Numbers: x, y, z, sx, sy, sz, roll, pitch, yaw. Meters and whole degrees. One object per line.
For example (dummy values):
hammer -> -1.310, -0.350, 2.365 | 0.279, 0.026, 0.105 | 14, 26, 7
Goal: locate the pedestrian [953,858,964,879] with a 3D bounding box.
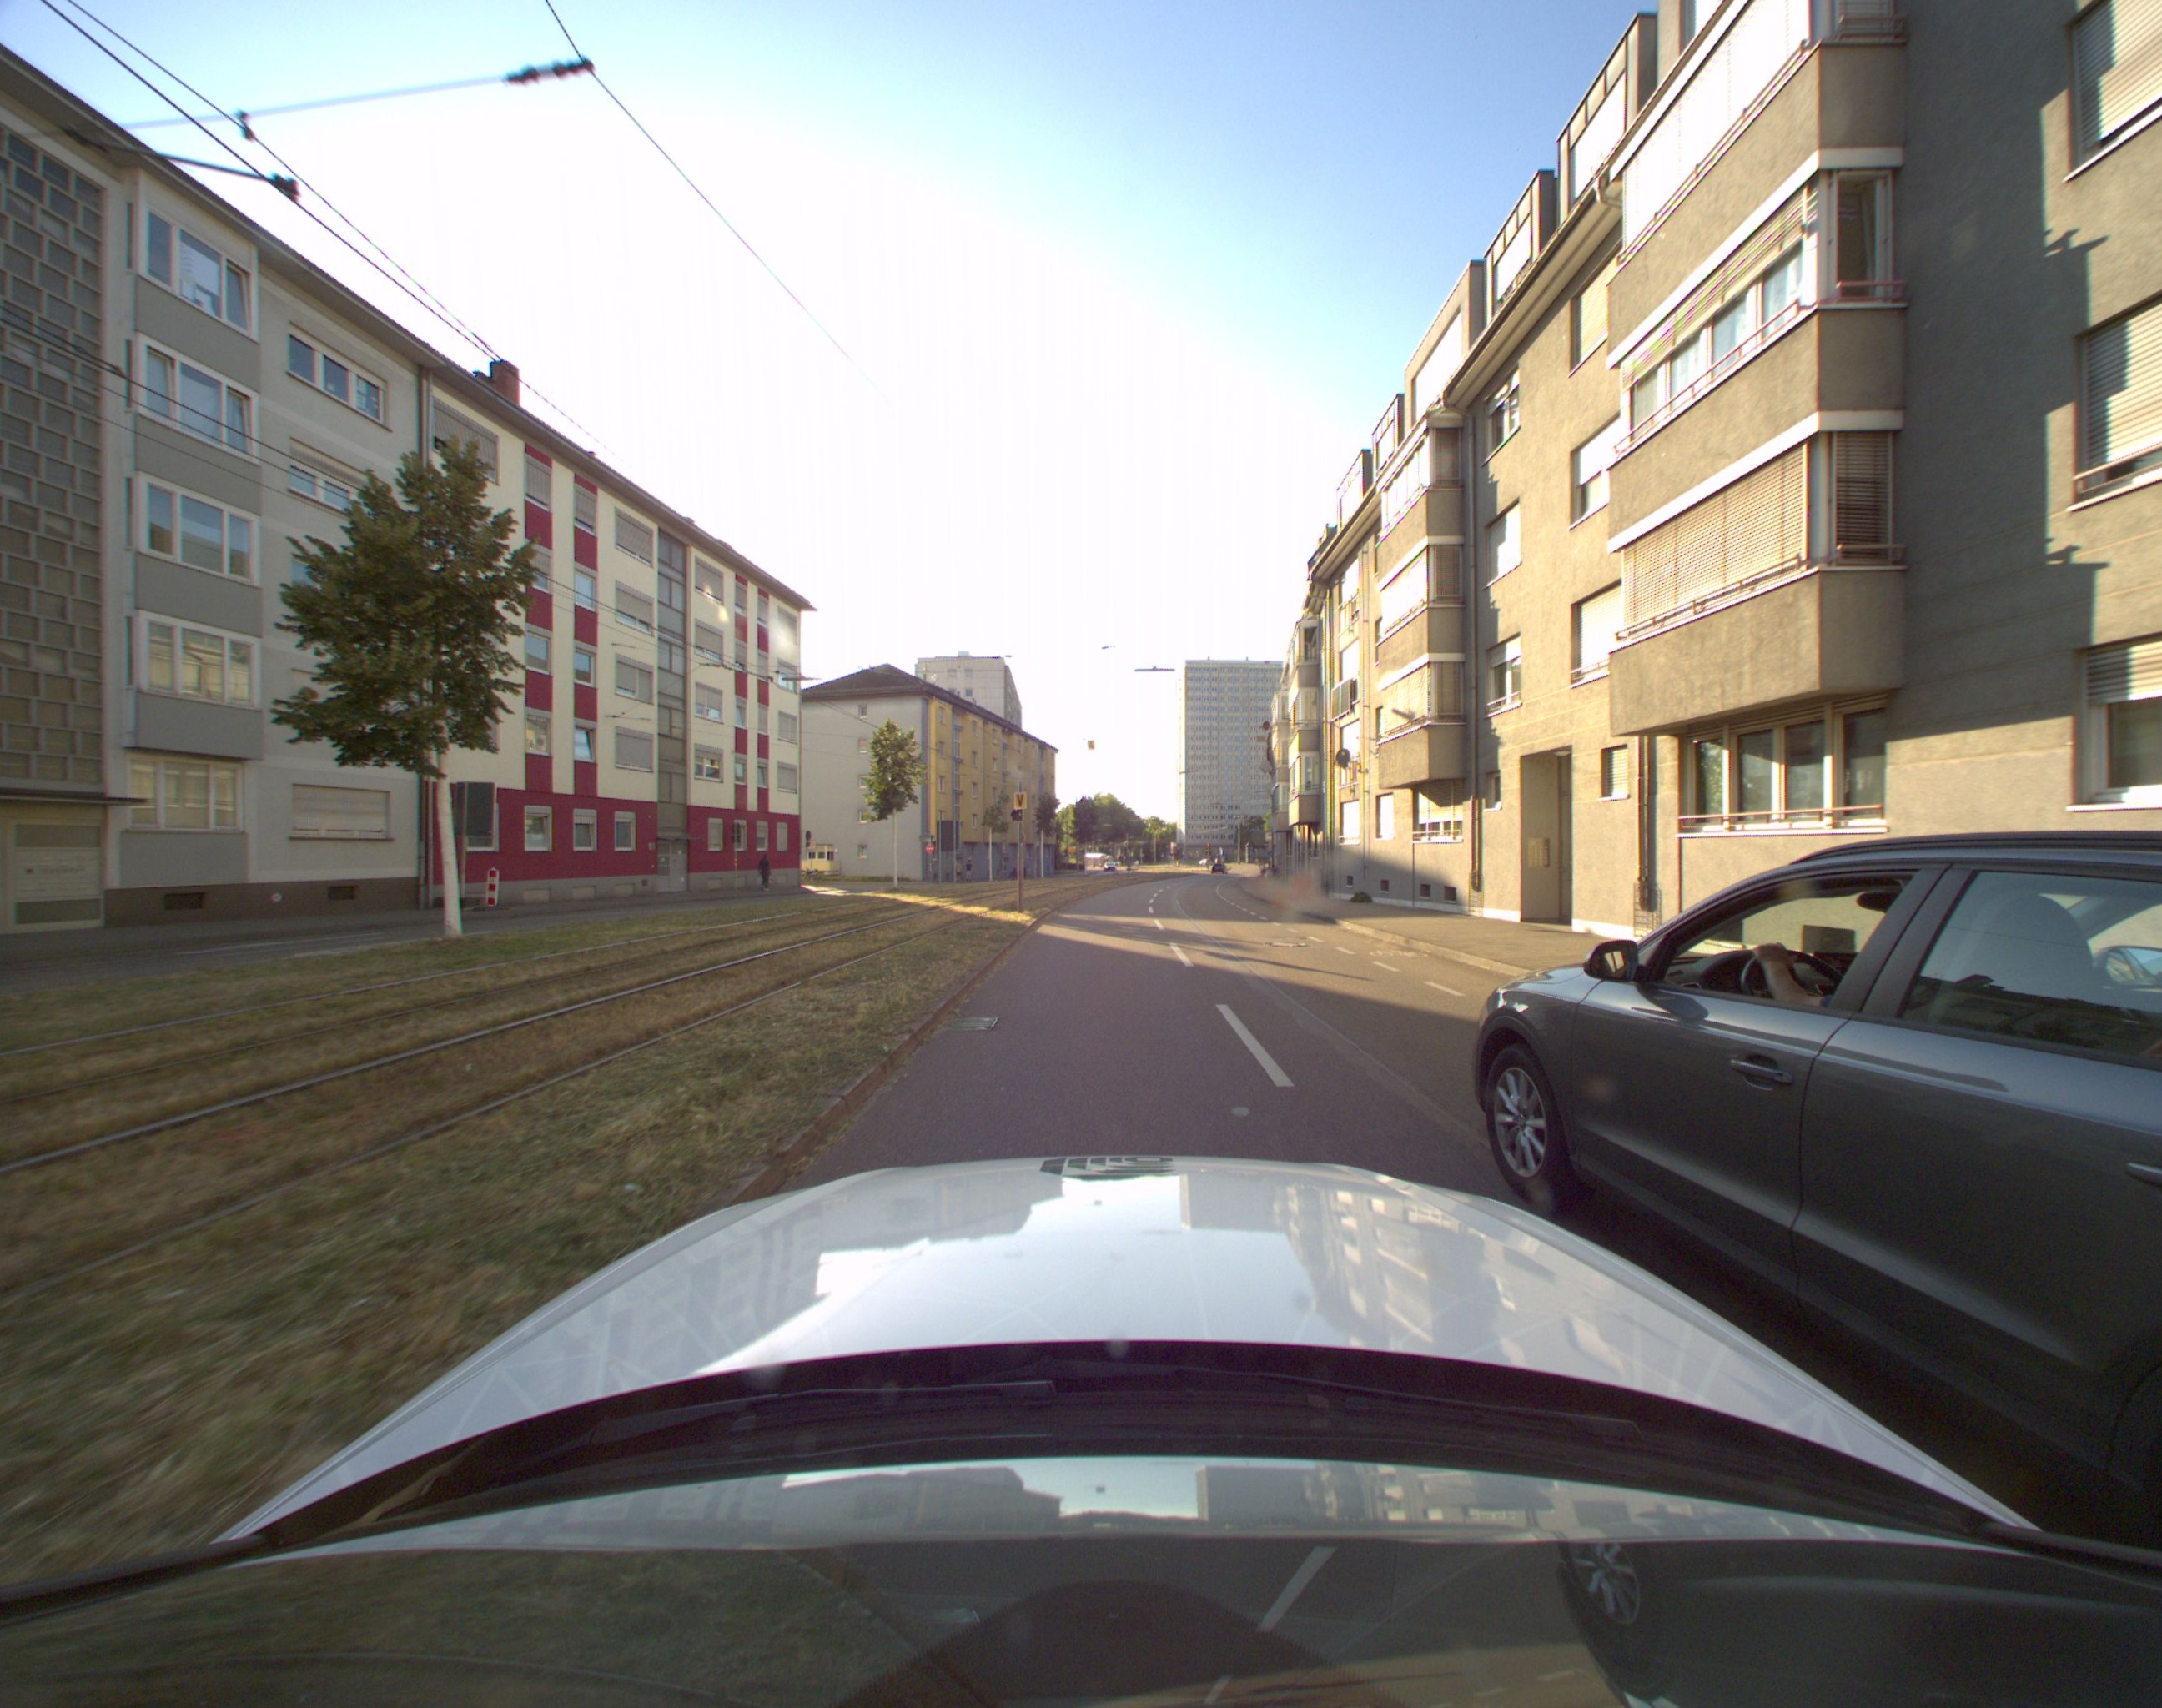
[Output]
pedestrian -> -10.340, 1.205, 68.784 | 0.612, 1.694, 0.708 | 5, 0, 12

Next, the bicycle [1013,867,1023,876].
bicycle -> -6.595, 1.873, 85.931 | 0.424, 0.925, 1.919 | 4, 0, 14

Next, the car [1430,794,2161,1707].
car -> 2.717, 0.696, 2.409 | 1.759, 1.587, 4.070 | 0, 0, 2

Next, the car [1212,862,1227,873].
car -> 18.357, 1.793, 107.837 | 1.759, 1.422, 3.870 | 0, 0, 14

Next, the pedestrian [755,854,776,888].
pedestrian -> -15.539, 0.834, 40.149 | 0.610, 1.689, 0.793 | 1, 0, 7

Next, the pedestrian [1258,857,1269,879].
pedestrian -> 14.616, 1.119, 65.304 | 0.824, 1.772, 0.999 | 0, -1, 12

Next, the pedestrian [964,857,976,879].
pedestrian -> -9.424, 1.200, 69.238 | 0.589, 1.773, 0.888 | 5, 0, 12

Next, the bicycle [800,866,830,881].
bicycle -> -19.077, 1.393, 58.415 | 1.952, 1.076, 0.602 | 1, -1, -5

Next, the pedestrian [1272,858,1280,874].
pedestrian -> 15.501, 0.965, 64.823 | 0.583, 1.251, 0.586 | 0, -1, 12

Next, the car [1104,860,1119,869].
car -> 5.309, 1.787, 139.170 | 1.782, 1.469, 4.810 | -2, -2, 11

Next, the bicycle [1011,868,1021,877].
bicycle -> -6.743, 1.888, 84.656 | 0.424, 0.925, 1.919 | 4, 0, 14

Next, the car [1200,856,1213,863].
car -> 28.818, 1.296, 186.600 | 1.991, 1.530, 3.991 | -1, 0, -6

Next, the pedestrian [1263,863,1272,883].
pedestrian -> 12.534, 1.251, 54.635 | 0.511, 1.344, 0.610 | -1, -2, 8

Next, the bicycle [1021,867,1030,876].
bicycle -> -6.022, 1.934, 88.432 | 0.424, 0.960, 1.919 | 0, -1, 14
